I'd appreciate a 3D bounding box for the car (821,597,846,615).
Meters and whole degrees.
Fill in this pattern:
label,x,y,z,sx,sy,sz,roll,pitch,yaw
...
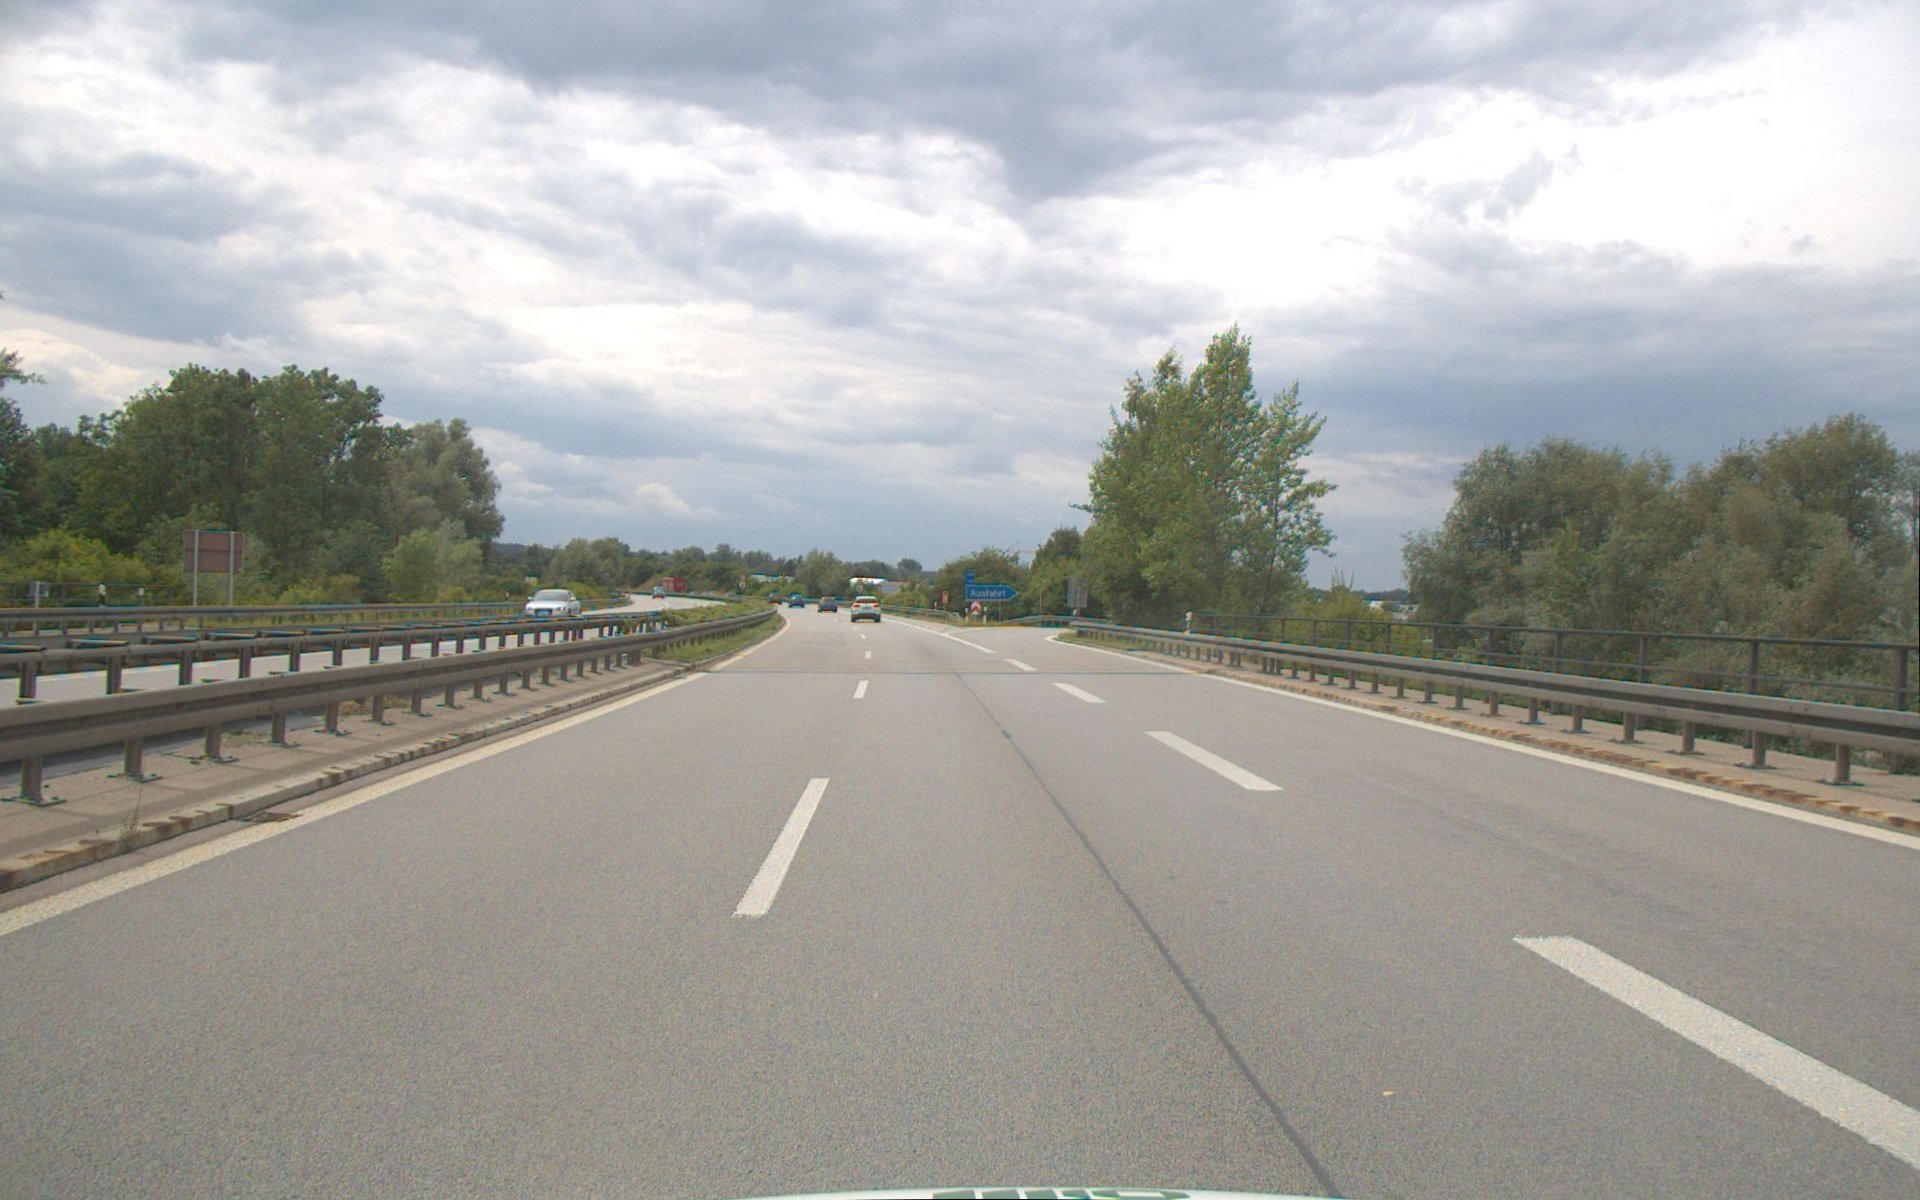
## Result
label,x,y,z,sx,sy,sz,roll,pitch,yaw
car,-12.377,0.541,161.139,1.859,1.668,4.609,1,0,-11

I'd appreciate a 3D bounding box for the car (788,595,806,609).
label,x,y,z,sx,sy,sz,roll,pitch,yaw
car,-20.099,0.286,203.817,1.868,1.668,4.767,1,0,-11

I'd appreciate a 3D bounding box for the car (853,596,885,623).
label,x,y,z,sx,sy,sz,roll,pitch,yaw
car,-5.997,0.607,108.169,1.866,1.668,4.390,2,0,-6

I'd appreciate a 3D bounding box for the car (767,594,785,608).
label,x,y,z,sx,sy,sz,roll,pitch,yaw
car,-26.132,0.116,234.711,1.797,1.825,4.395,-2,1,-16

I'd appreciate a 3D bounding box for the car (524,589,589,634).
label,x,y,z,sx,sy,sz,roll,pitch,yaw
car,-16.440,0.441,67.577,1.610,1.745,4.978,1,0,-3
